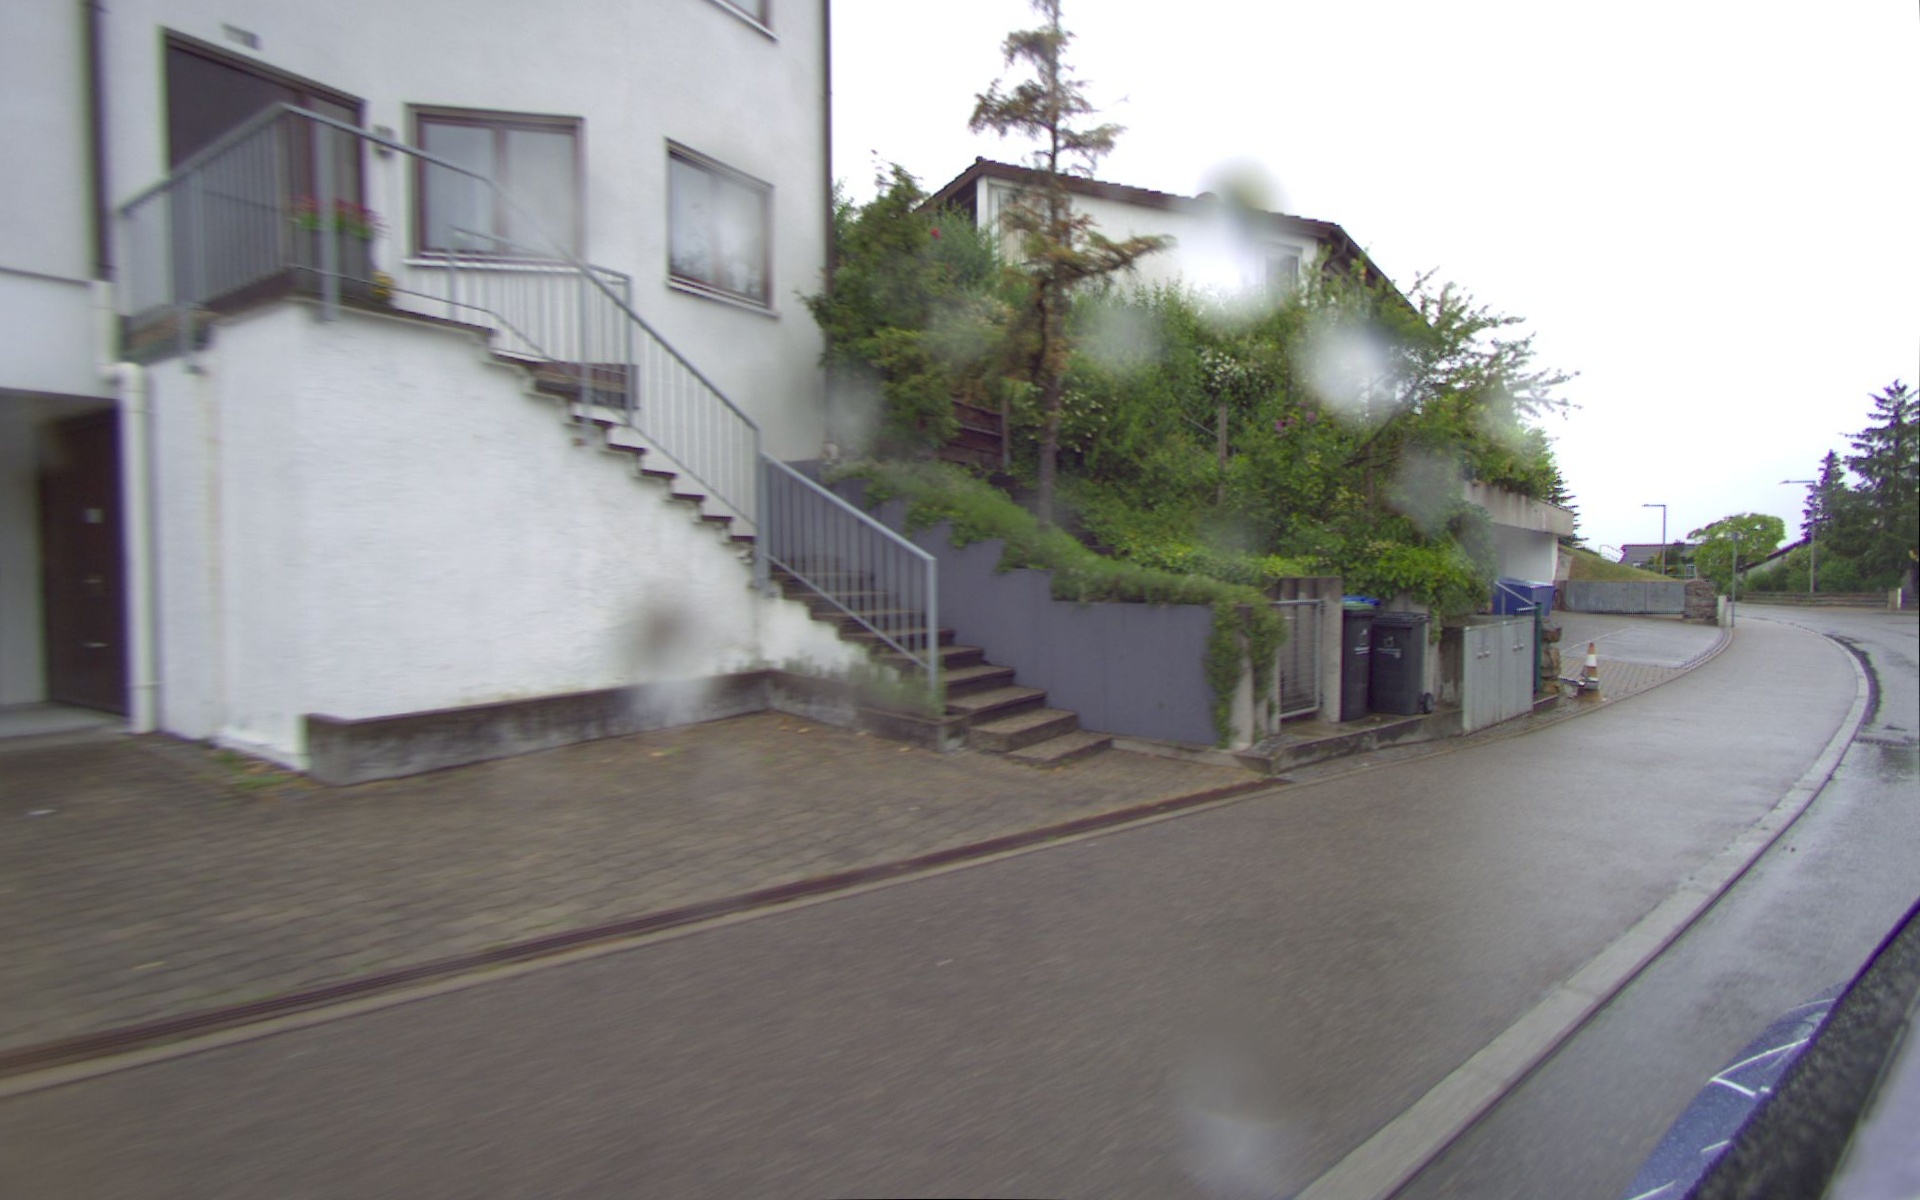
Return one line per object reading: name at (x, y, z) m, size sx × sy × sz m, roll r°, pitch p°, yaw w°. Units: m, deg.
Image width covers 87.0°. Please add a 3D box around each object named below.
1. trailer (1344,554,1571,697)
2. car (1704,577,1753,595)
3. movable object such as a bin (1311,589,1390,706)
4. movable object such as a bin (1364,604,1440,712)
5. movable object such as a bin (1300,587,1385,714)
trailer at (6.886, 0.275, 14.036) m, size 2.354 × 1.769 × 1.969 m, roll 1°, pitch 2°, yaw 44°
car at (62.670, -1.133, 82.530) m, size 3.031 × 1.499 × 1.431 m, roll 0°, pitch 1°, yaw 44°
movable object such as a bin at (3.724, 0.431, 9.660) m, size 0.566 × 1.059 × 0.492 m, roll 0°, pitch 1°, yaw -43°
movable object such as a bin at (4.062, 0.518, 9.298) m, size 0.449 × 0.934 × 0.492 m, roll 0°, pitch 1°, yaw -42°
movable object such as a bin at (3.379, 0.424, 8.946) m, size 0.566 × 1.059 × 0.492 m, roll 0°, pitch 1°, yaw -43°
